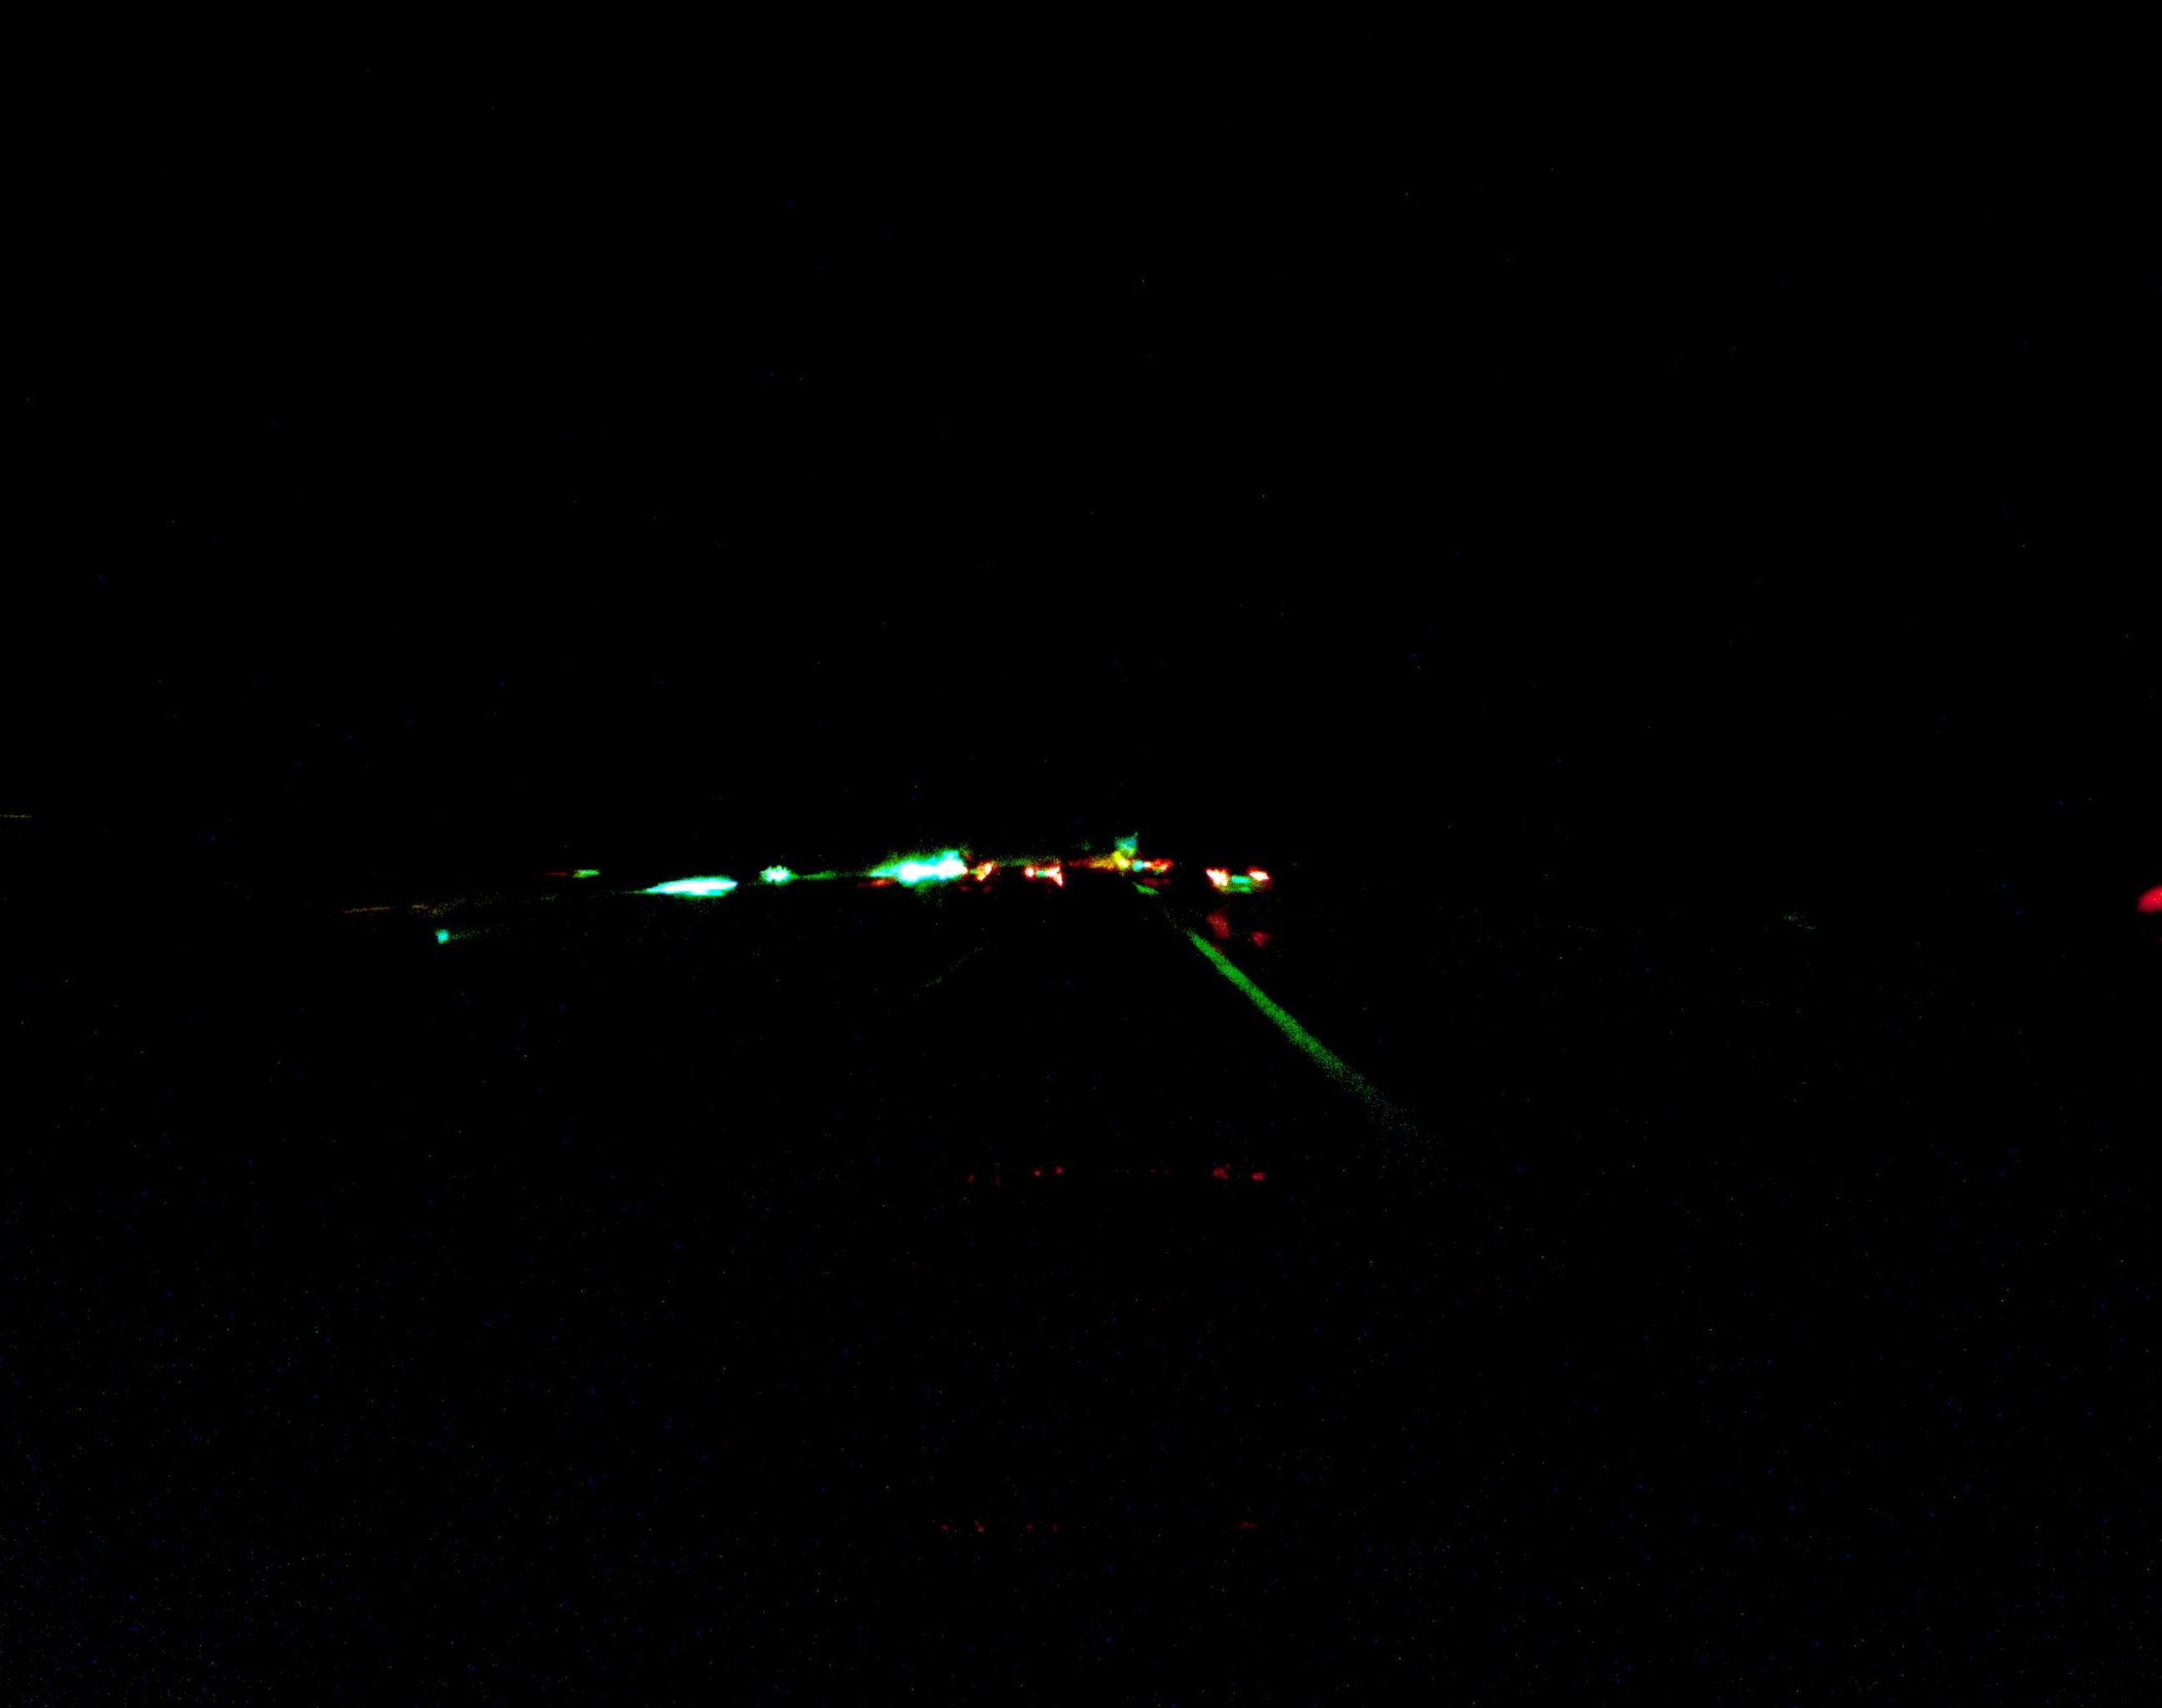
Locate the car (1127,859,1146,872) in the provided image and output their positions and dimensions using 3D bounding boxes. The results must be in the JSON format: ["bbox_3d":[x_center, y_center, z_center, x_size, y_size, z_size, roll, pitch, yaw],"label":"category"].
[{"bbox_3d":[5.599,1.171,82.476,1.577,1.246,3.066,-1,-1,-2],"label":"car"}]

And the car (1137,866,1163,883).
[{"bbox_3d":[5.205,1.583,61.954,1.577,1.246,3.066,-1,-1,-2],"label":"car"}]

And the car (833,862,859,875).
[{"bbox_3d":[-34.146,2.142,118.683,1.983,1.771,4.578,-1,0,6],"label":"car"}]

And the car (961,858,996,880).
[{"bbox_3d":[-6.452,0.994,51.741,1.657,1.236,3.760,-4,-2,0],"label":"car"}]

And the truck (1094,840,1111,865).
[{"bbox_3d":[2.992,-0.133,111.784,1.985,3.043,6.469,-4,-2,3],"label":"truck"}]

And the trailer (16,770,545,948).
[{"bbox_3d":[-23.530,0.309,26.213,2.803,3.998,13.933,-4,-2,1],"label":"trailer"}]

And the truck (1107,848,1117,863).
[{"bbox_3d":[7.235,0.345,187.717,1.985,3.043,6.469,-4,-2,3],"label":"truck"}]

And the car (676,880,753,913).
[{"bbox_3d":[-16.805,1.937,37.526,1.608,1.299,3.704,-5,-2,3],"label":"car"}]

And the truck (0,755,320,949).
[{"bbox_3d":[-23.707,0.131,20.019,2.803,4.006,7.350,-4,-2,1],"label":"truck"}]

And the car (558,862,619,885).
[{"bbox_3d":[-44.504,1.764,73.680,1.979,1.933,4.703,-1,0,13],"label":"car"}]

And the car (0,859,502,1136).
[{"bbox_3d":[-6.940,0.838,5.963,1.851,1.541,4.752,-2,0,2],"label":"car"}]

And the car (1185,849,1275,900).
[{"bbox_3d":[4.829,0.624,27.160,2.051,1.519,5.014,-1,0,0],"label":"car"}]

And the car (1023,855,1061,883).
[{"bbox_3d":[-2.162,0.833,46.117,1.795,1.487,4.001,-1,0,2],"label":"car"}]

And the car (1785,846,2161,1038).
[{"bbox_3d":[9.311,0.688,7.704,1.715,1.497,4.040,-1,0,-2],"label":"car"}]
